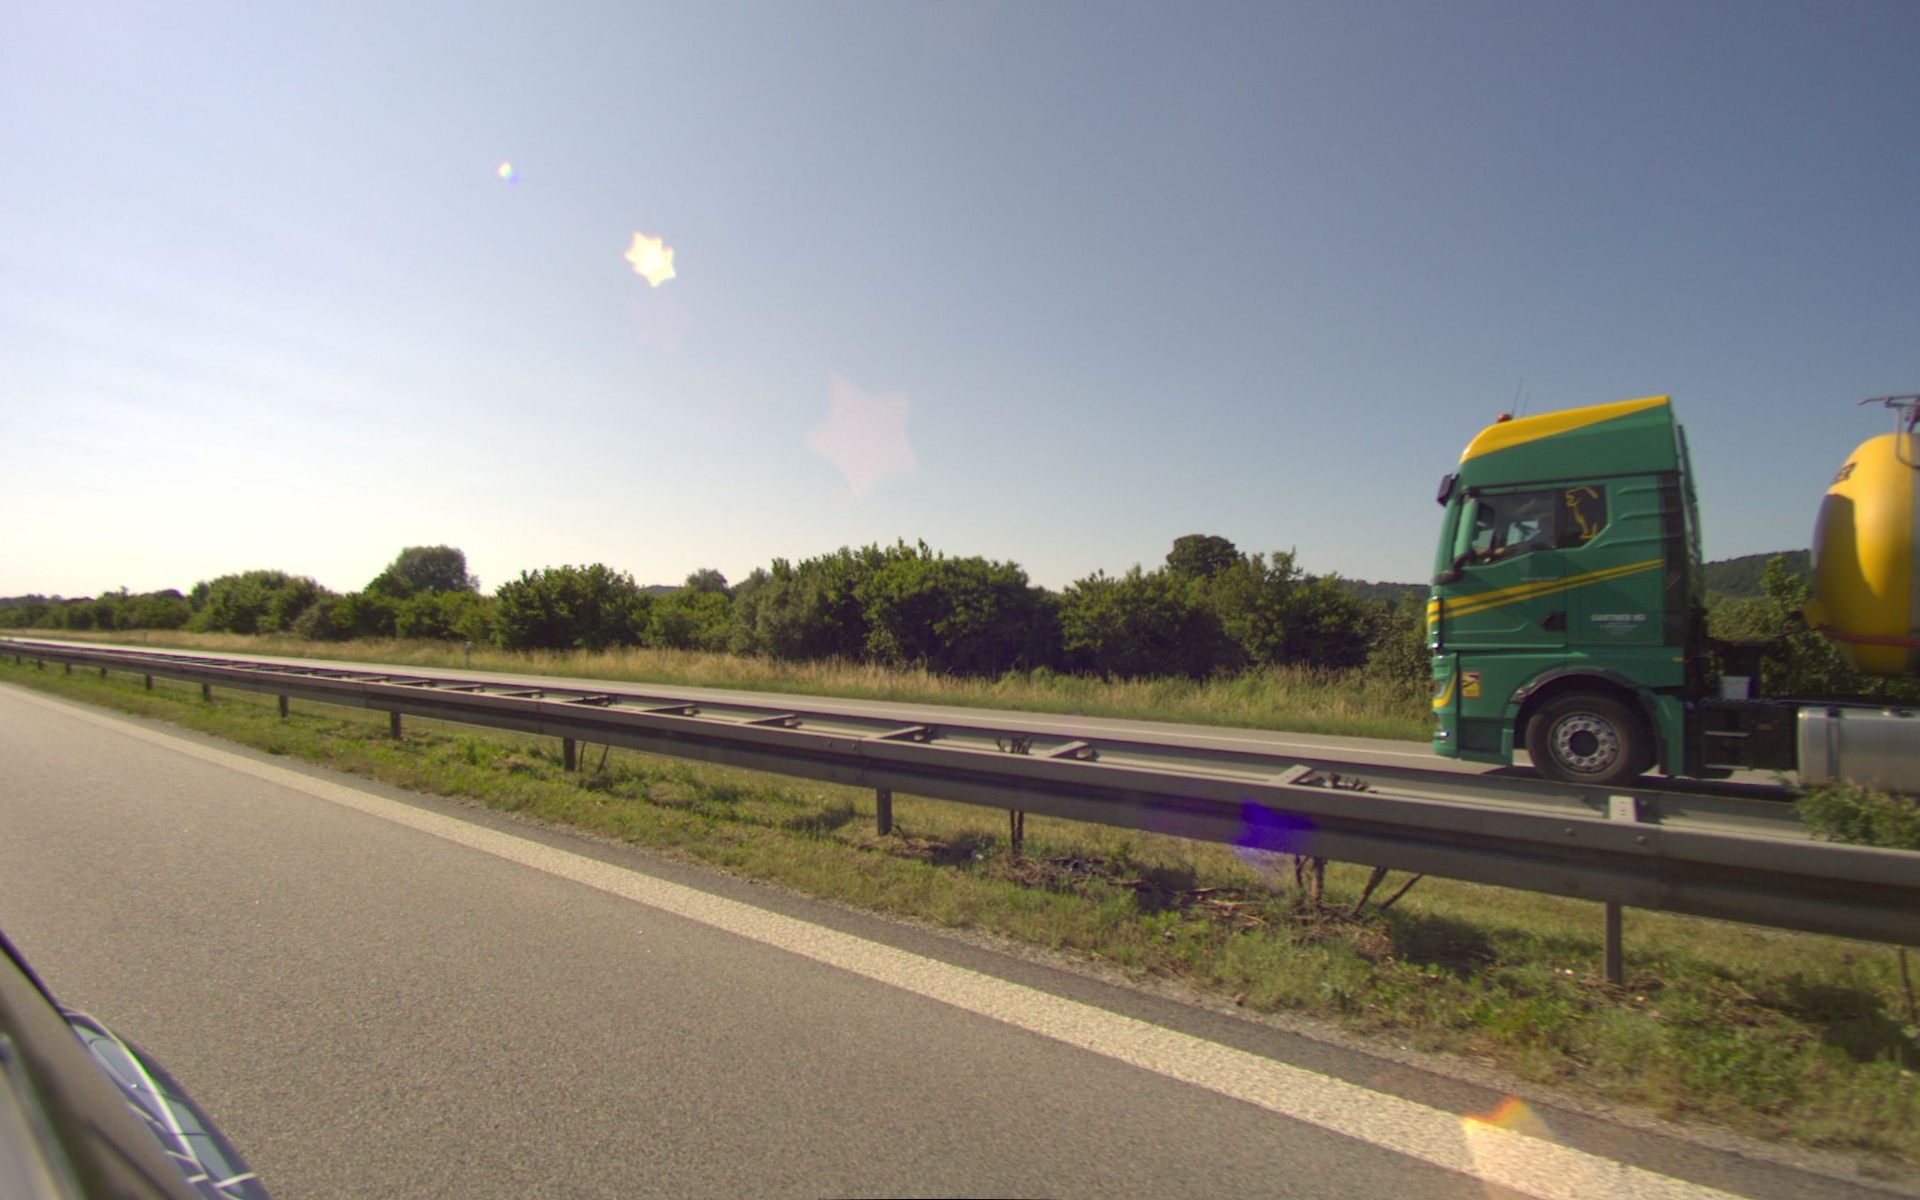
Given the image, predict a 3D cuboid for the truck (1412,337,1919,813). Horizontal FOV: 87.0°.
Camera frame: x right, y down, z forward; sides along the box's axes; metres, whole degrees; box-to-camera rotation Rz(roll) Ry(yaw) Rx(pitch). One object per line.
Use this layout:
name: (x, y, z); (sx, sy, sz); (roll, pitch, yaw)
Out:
truck: (7.711, -0.142, 9.777); (5.564, 3.760, 2.925); (-1, -3, 40)

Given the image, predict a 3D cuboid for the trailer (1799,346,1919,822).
trailer: (12.704, -0.138, 5.554); (12.410, 3.759, 2.949); (-1, -3, 40)
